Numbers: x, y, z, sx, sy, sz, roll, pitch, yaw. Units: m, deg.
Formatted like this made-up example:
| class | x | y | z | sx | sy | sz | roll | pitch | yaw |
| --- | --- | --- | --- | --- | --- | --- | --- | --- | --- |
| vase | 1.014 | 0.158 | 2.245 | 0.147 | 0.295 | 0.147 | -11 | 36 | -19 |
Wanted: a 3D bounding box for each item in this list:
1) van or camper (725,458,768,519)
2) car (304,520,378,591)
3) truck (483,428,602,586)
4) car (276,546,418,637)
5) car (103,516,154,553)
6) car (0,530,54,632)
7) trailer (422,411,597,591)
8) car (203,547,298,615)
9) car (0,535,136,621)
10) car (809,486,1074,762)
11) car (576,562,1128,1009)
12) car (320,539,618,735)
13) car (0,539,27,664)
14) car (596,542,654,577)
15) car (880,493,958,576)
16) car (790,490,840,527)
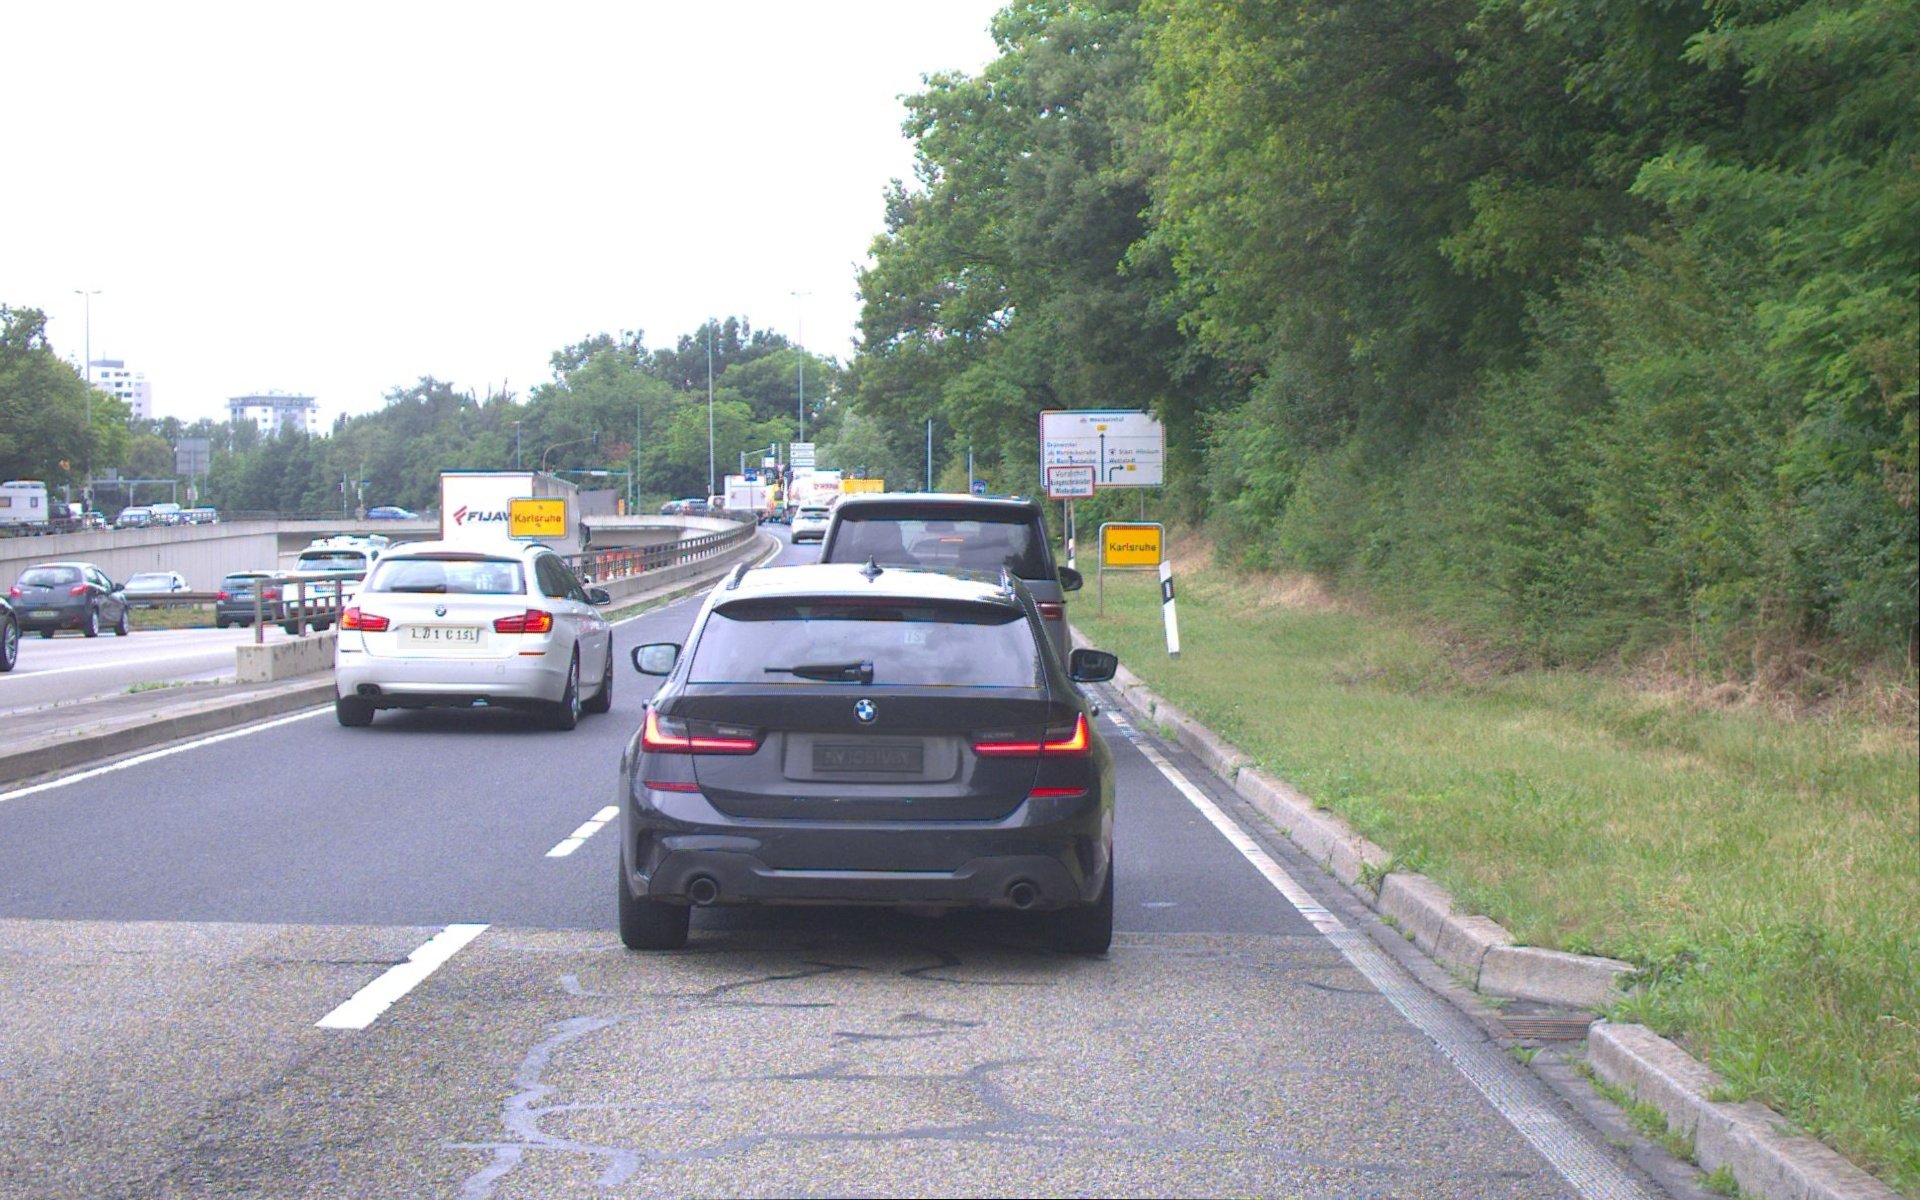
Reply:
| class | x | y | z | sx | sy | sz | roll | pitch | yaw |
| --- | --- | --- | --- | --- | --- | --- | --- | --- | --- |
| van or camper | -10.015 | -5.238 | 161.703 | 1.993 | 2.811 | 4.001 | 0 | 1 | -3 |
| car | -17.944 | -1.300 | 99.765 | 1.443 | 2.037 | 3.680 | 0 | 1 | 1 |
| truck | -12.800 | -2.840 | 105.686 | 3.084 | 4.681 | 4.232 | 1 | 1 | 0 |
| car | -11.892 | -0.200 | 66.927 | 1.946 | 1.686 | 4.507 | 0 | 1 | 0 |
| car | -41.610 | -3.277 | 172.131 | 1.655 | 1.830 | 3.622 | 0 | 1 | 0 |
| car | -16.752 | -0.349 | 57.992 | 1.890 | 1.675 | 4.307 | 0 | 1 | -1 |
| trailer | -12.730 | -2.733 | 98.547 | 3.132 | 4.709 | 14.559 | 1 | 1 | -1 |
| car | -17.940 | -0.504 | 87.103 | 1.687 | 1.626 | 3.735 | 1 | 1 | -2 |
| car | -17.526 | -0.456 | 67.698 | 1.687 | 1.602 | 4.008 | 1 | 1 | -2 |
| car | -0.133 | 0.129 | 25.511 | 1.796 | 1.865 | 4.000 | 1 | 1 | 0 |
| car | -0.433 | 0.610 | 13.641 | 1.846 | 1.461 | 4.000 | 1 | 1 | -2 |
| car | -3.951 | 0.237 | 28.409 | 1.859 | 1.459 | 4.885 | 1 | 1 | -1 |
| car | -12.047 | 0.032 | 38.841 | 1.712 | 1.452 | 4.666 | 1 | 1 | 0 |
| car | -19.490 | -2.360 | 199.954 | 3.202 | 2.021 | 5.077 | 0 | 1 | -7 |
| car | -0.763 | -1.234 | 65.048 | 1.452 | 1.535 | 3.225 | 0 | 1 | 0 |
| car | -6.312 | -3.993 | 149.878 | 1.931 | 1.590 | 3.877 | 0 | 1 | 1 |
